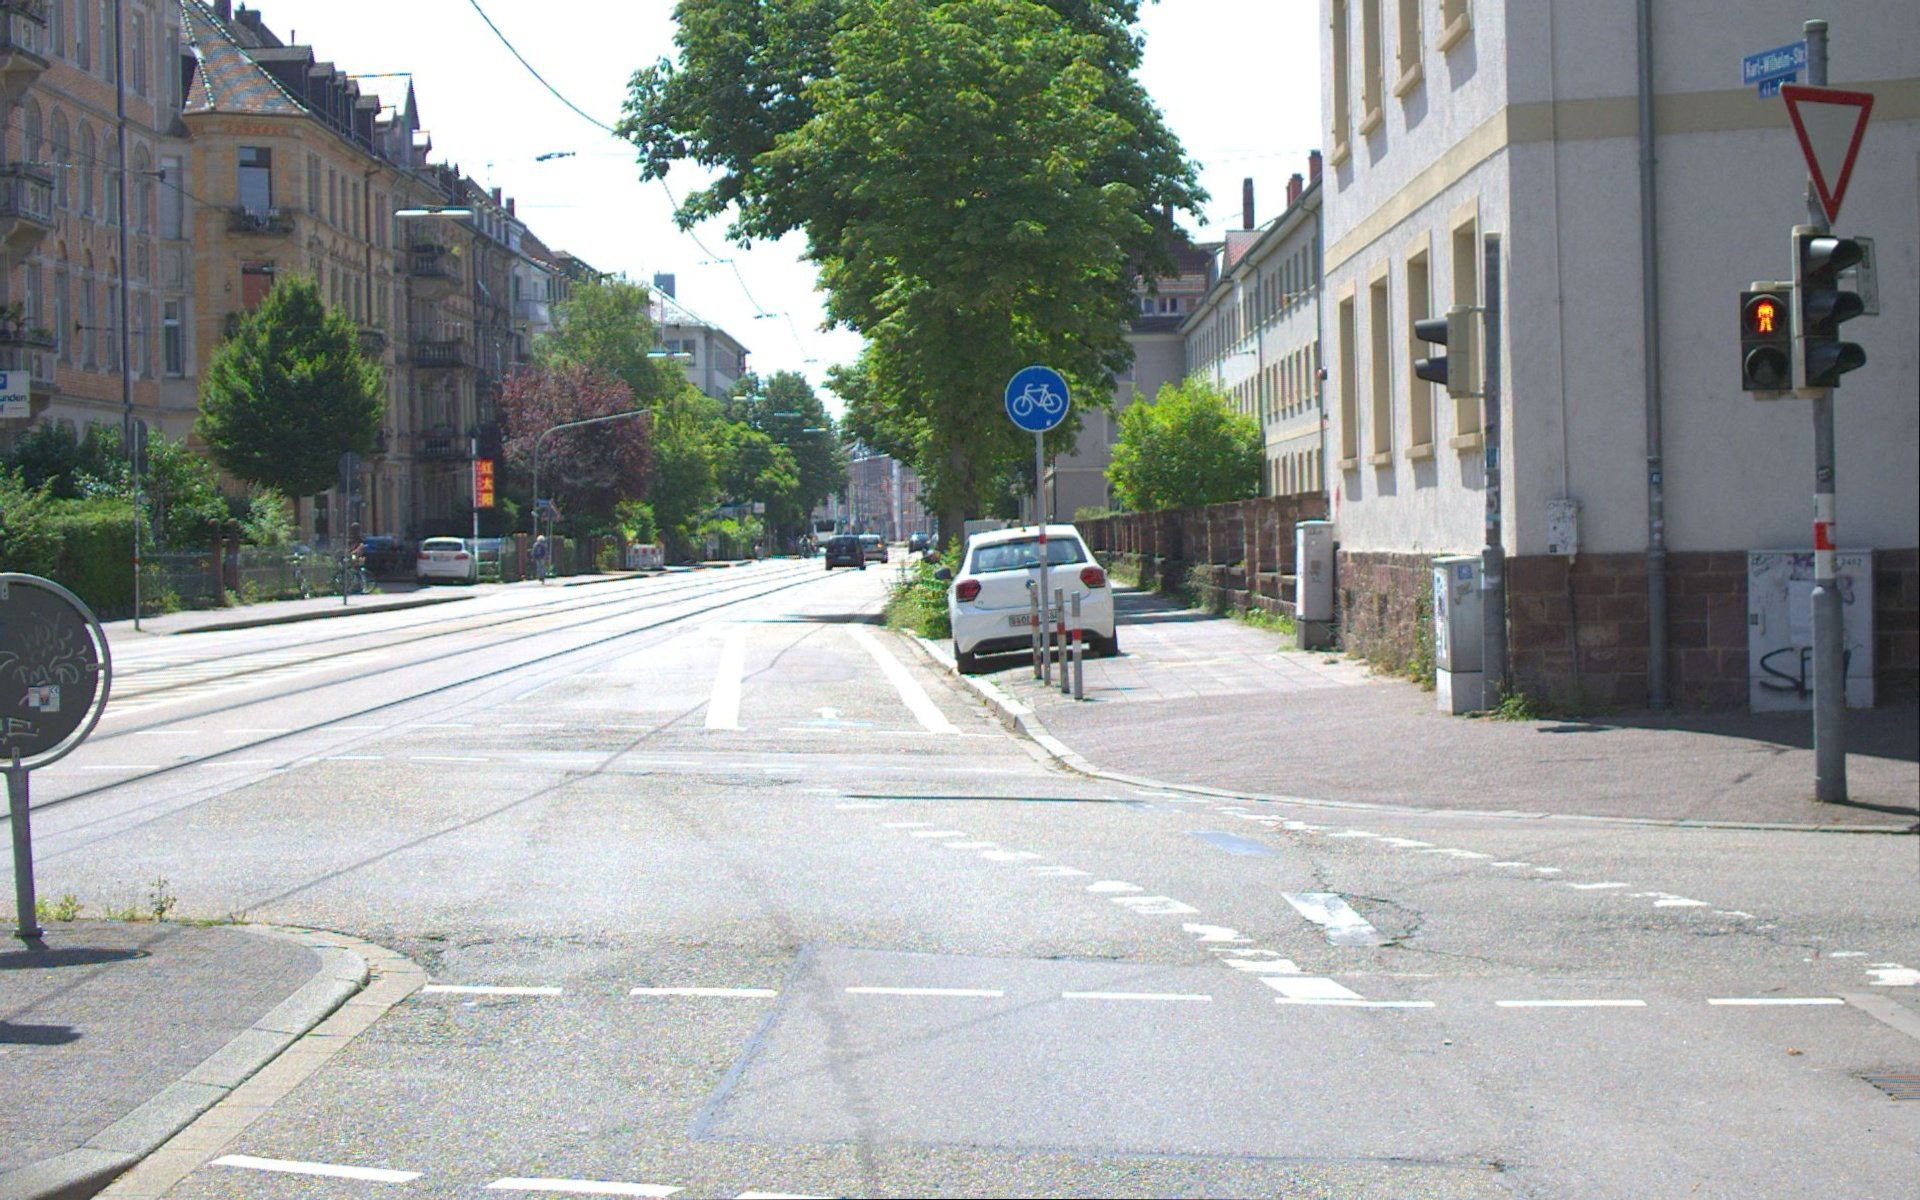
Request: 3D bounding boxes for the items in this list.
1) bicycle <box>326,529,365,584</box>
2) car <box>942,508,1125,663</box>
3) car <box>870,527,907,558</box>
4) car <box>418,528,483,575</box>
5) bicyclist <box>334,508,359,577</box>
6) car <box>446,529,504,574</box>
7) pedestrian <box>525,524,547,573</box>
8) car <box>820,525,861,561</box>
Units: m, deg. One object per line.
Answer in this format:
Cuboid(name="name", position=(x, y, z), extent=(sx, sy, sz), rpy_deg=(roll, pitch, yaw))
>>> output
Cuboid(name="bicycle", position=(-15.700, -1.123, 87.940), extent=(0.577, 1.383, 2.501), rpy_deg=(0, 1, -1))
Cuboid(name="car", position=(0.744, -0.173, 37.189), extent=(1.747, 1.467, 3.938), rpy_deg=(-4, 1, -1))
Cuboid(name="car", position=(-3.664, -2.963, 176.469), extent=(1.747, 1.467, 3.938), rpy_deg=(-4, 1, -1))
Cuboid(name="car", position=(-17.111, -1.626, 115.601), extent=(1.684, 1.467, 3.939), rpy_deg=(-4, 1, -3))
Cuboid(name="bicyclist", position=(-15.683, -1.469, 87.863), extent=(0.542, 1.757, 0.498), rpy_deg=(0, 1, -1))
Cuboid(name="car", position=(-17.472, -1.741, 123.966), extent=(1.628, 1.467, 3.564), rpy_deg=(-4, 1, -3))
Cuboid(name="pedestrian", position=(-15.023, -1.826, 121.832), extent=(0.678, 1.721, 0.677), rpy_deg=(0, 1, -1))
Cuboid(name="car", position=(-5.037, -2.401, 144.965), extent=(1.525, 1.439, 3.365), rpy_deg=(-2, 1, 0))
